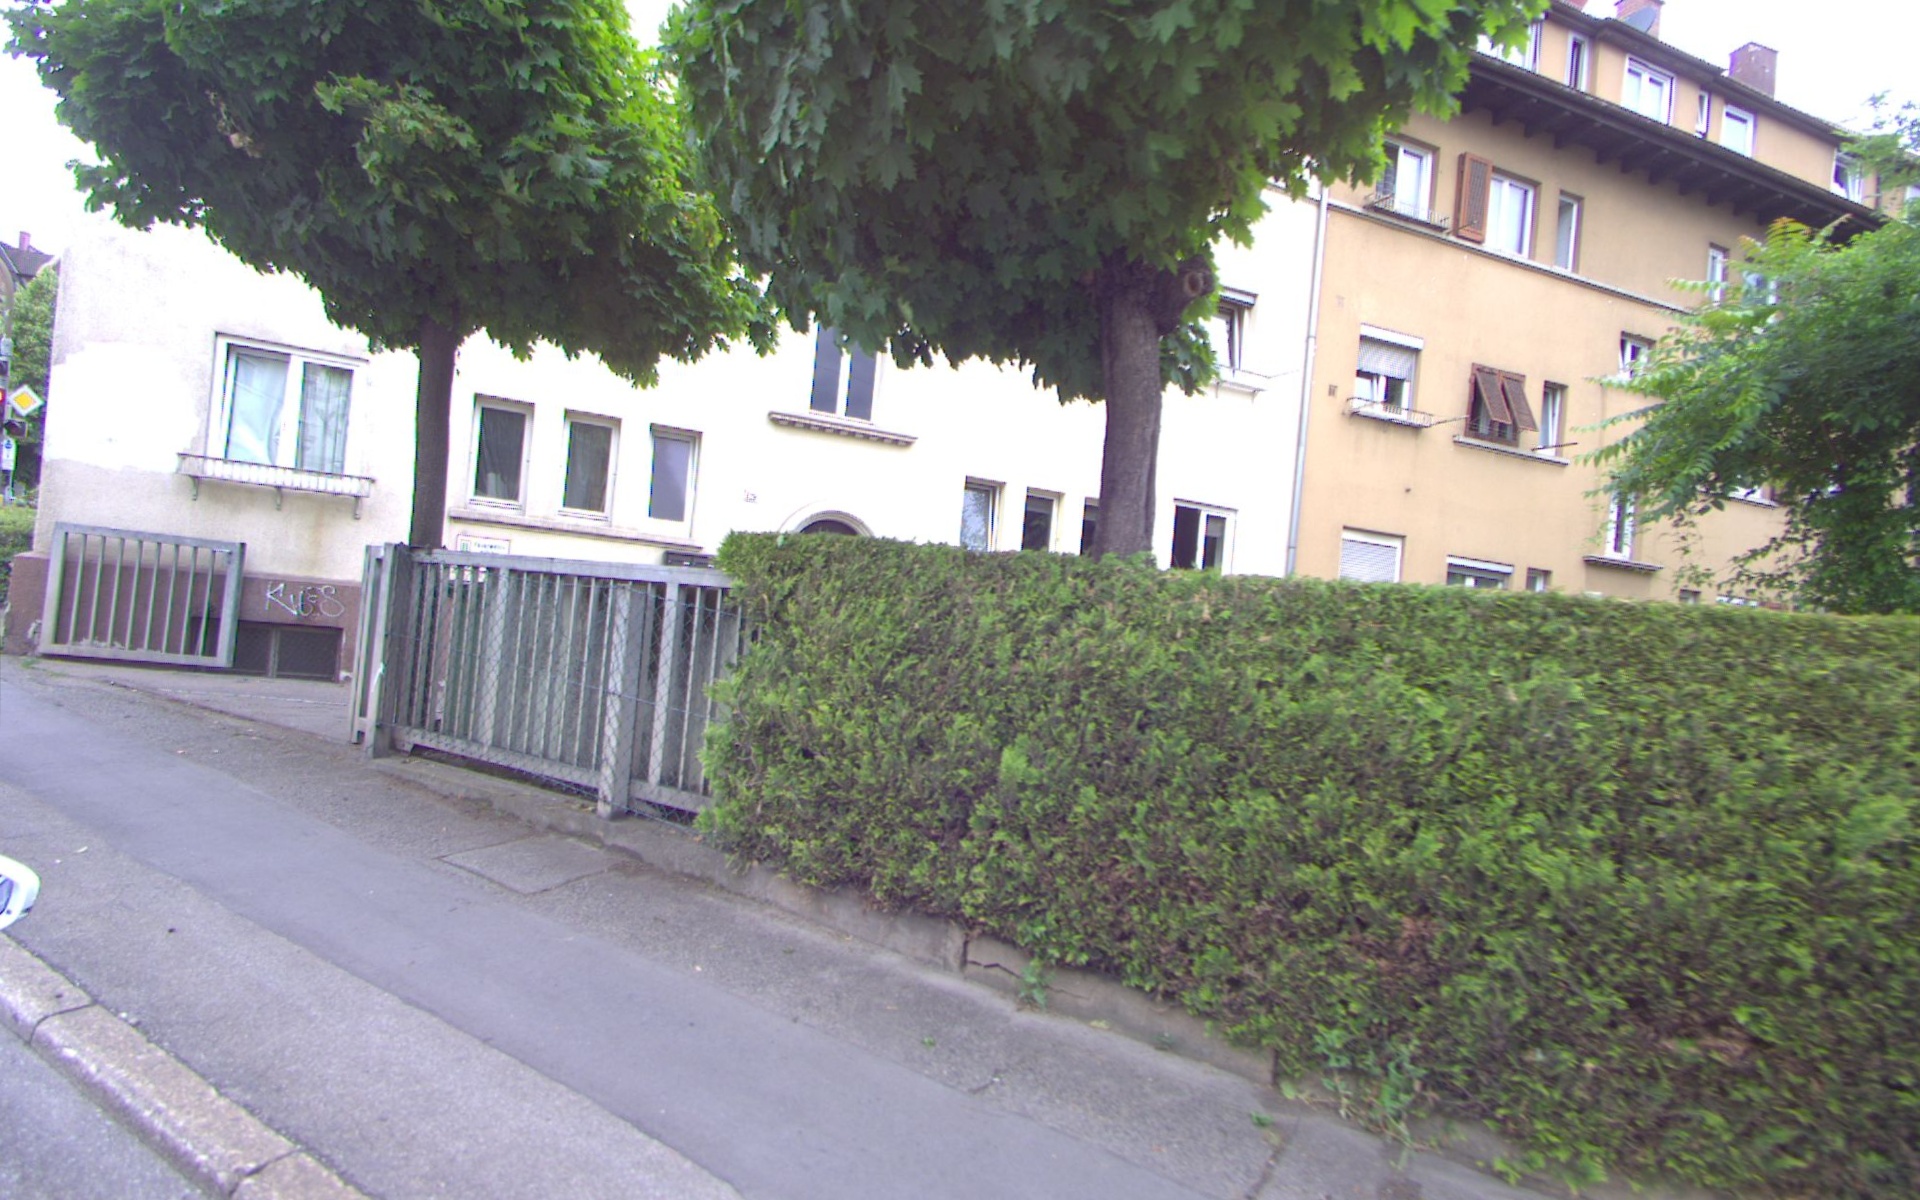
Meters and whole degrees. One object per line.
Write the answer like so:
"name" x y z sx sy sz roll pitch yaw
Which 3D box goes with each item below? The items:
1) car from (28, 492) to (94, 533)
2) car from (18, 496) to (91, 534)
"car" -45.881 -4.488 51.318 3.945 1.704 1.991 6 -1 42
"car" -64.046 -5.977 71.217 1.969 2.036 3.992 9 -3 -14
